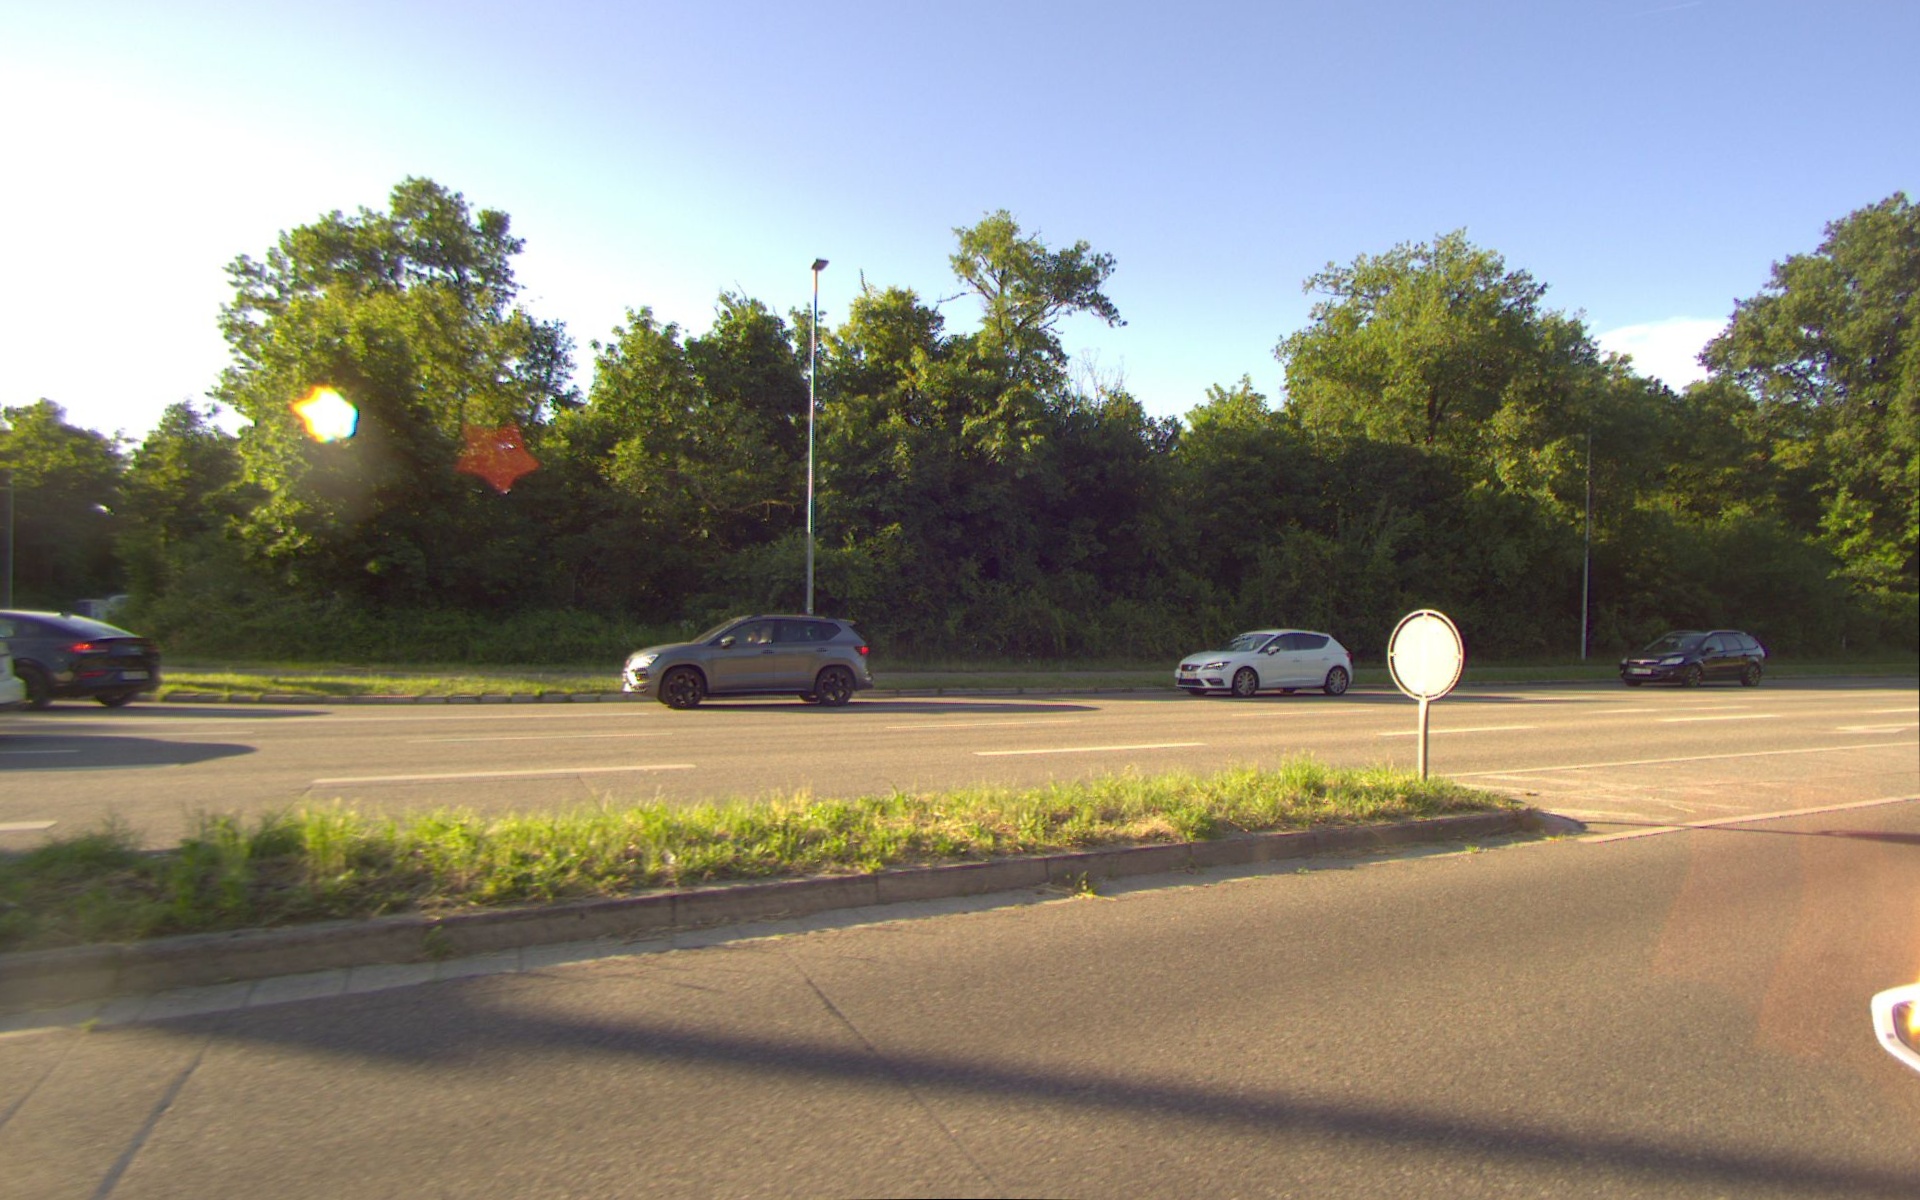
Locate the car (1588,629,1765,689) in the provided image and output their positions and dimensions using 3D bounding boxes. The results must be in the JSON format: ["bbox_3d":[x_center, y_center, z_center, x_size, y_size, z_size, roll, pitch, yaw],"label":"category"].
[{"bbox_3d":[19.999,1.616,28.039,4.583,1.584,1.989,1,-2,-24],"label":"car"}]

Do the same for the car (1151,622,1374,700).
[{"bbox_3d":[6.735,1.327,22.361,4.583,1.584,1.989,1,-2,-24],"label":"car"}]

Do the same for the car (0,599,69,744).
[{"bbox_3d":[-12.122,0.691,9.889,4.588,1.470,1.987,1,-2,-27],"label":"car"}]

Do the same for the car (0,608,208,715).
[{"bbox_3d":[-14.379,0.863,15.246,4.554,1.470,2.001,1,-1,5],"label":"car"}]

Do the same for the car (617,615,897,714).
[{"bbox_3d":[-3.603,1.105,17.870,4.583,1.584,1.989,1,-2,-24],"label":"car"}]
